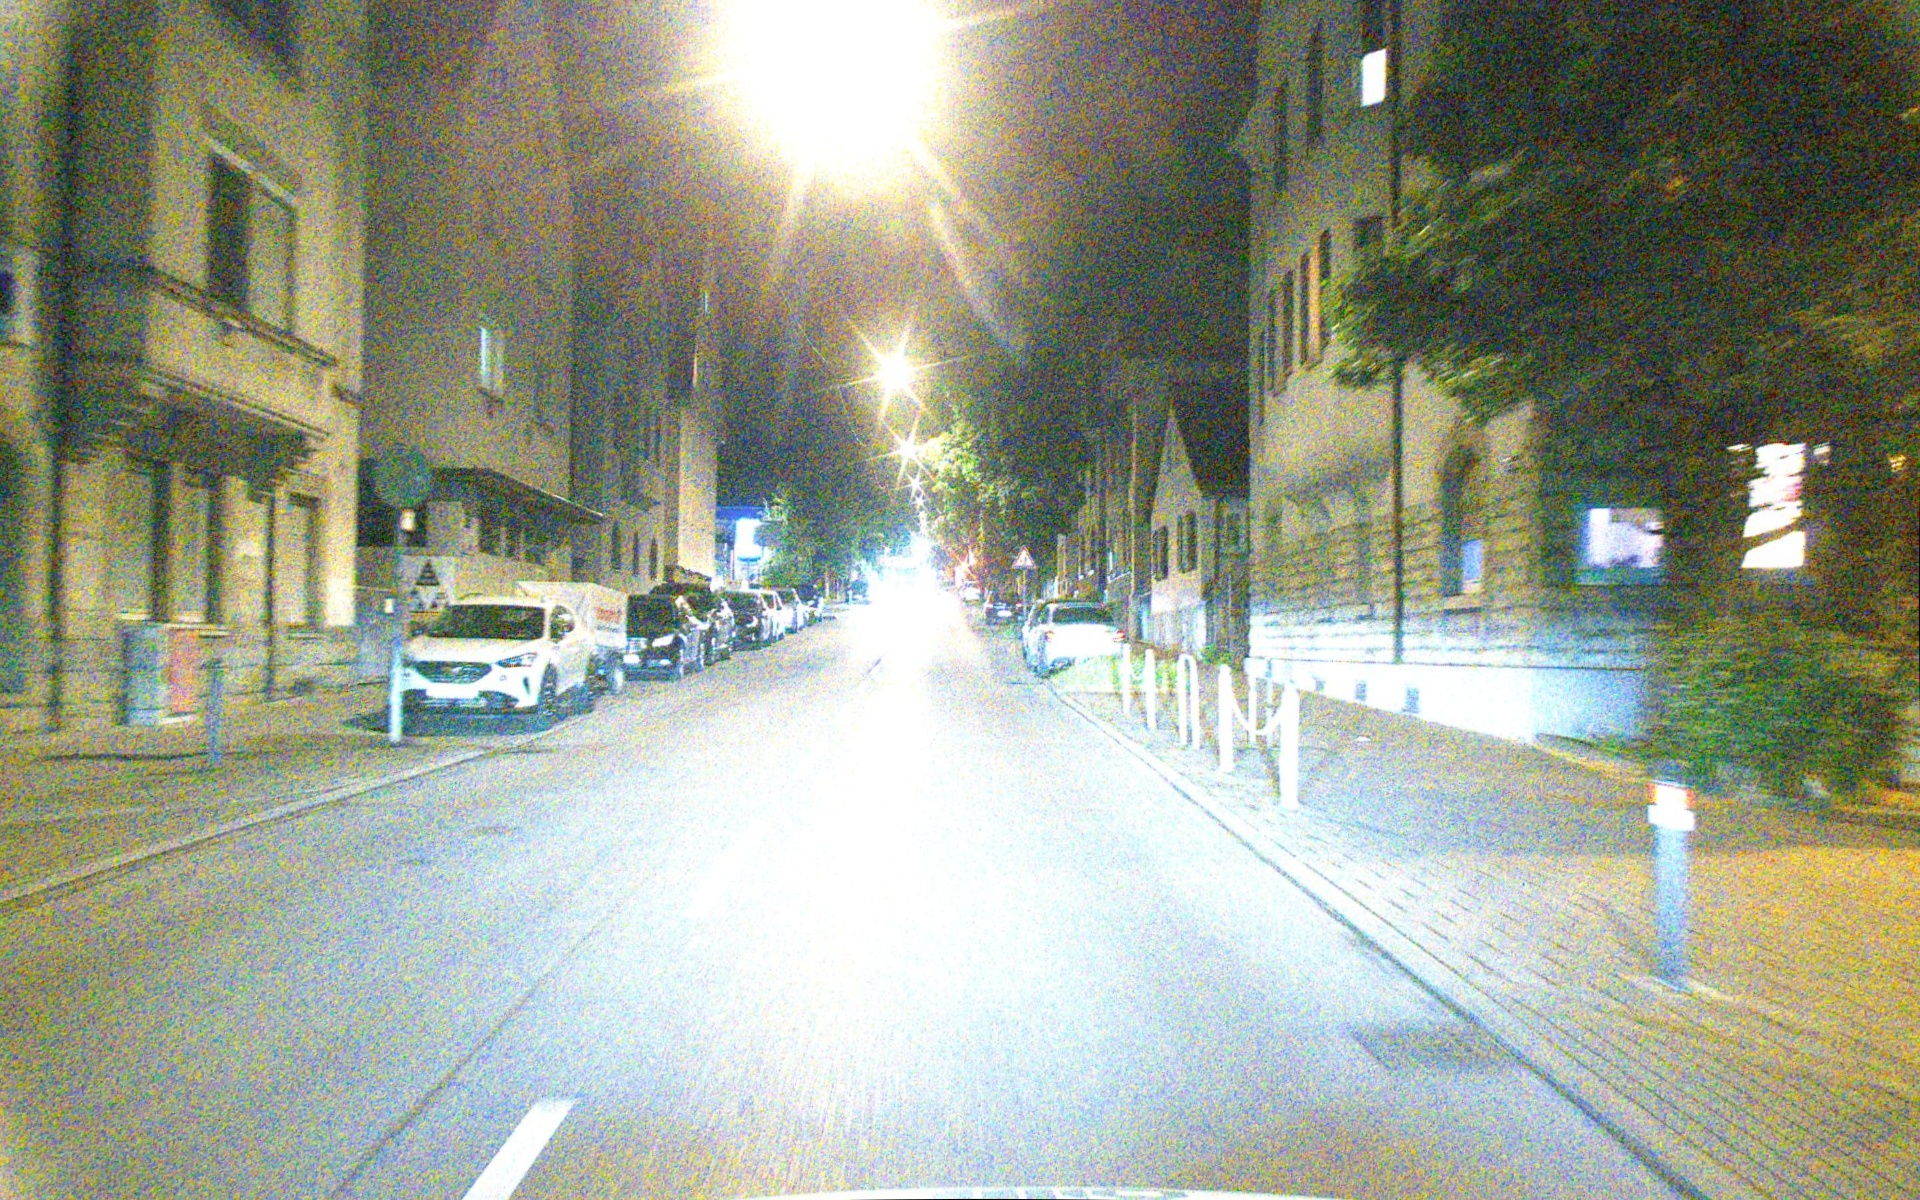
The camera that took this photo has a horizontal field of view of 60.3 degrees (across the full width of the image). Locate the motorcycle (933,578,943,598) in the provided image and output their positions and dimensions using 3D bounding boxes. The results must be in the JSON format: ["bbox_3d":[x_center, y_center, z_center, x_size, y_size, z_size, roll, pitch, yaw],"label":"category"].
[{"bbox_3d":[-2.053,-1.110,156.273,0.912,1.782,2.624,2,0,-1],"label":"motorcycle"}]

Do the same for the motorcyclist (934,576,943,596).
[{"bbox_3d":[-2.053,-1.316,156.536,0.831,1.782,0.805,2,0,-1],"label":"motorcyclist"}]

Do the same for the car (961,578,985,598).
[{"bbox_3d":[1.072,-0.958,134.618,1.830,1.553,4.149,-1,1,-1],"label":"car"}]

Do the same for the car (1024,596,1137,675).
[{"bbox_3d":[2.382,0.679,33.768,1.808,1.442,4.644,-2,0,-2],"label":"car"}]

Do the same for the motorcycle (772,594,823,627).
[{"bbox_3d":[-6.015,0.371,61.077,0.710,1.167,2.174,-1,1,-43],"label":"motorcycle"}]

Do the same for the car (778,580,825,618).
[{"bbox_3d":[-6.548,-0.021,68.494,1.605,1.524,2.765,1,0,1],"label":"car"}]

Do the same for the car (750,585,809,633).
[{"bbox_3d":[-6.174,0.284,56.829,1.670,1.517,4.227,-1,1,-2],"label":"car"}]

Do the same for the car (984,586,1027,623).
[{"bbox_3d":[1.968,0.168,72.235,1.727,1.501,4.080,-1,1,-1],"label":"car"}]

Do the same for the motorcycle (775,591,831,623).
[{"bbox_3d":[-5.993,0.258,63.095,2.162,1.150,0.714,1,1,32],"label":"motorcycle"}]

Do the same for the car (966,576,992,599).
[{"bbox_3d":[1.350,-0.909,121.064,1.775,1.621,4.273,-1,1,-1],"label":"car"}]

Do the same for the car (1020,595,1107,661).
[{"bbox_3d":[2.410,0.632,39.349,1.735,1.473,4.018,0,0,-2],"label":"car"}]

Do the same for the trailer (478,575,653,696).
[{"bbox_3d":[-5.904,0.507,25.104,1.603,1.668,3.440,2,0,4],"label":"trailer"}]

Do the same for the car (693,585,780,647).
[{"bbox_3d":[-5.932,0.407,44.273,1.826,1.517,4.279,2,0,-2],"label":"car"}]

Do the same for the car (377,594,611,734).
[{"bbox_3d":[-5.575,0.696,20.325,1.778,1.510,4.346,1,0,-2],"label":"car"}]

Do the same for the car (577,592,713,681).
[{"bbox_3d":[-5.767,0.614,30.789,1.798,1.472,4.543,1,1,-2],"label":"car"}]

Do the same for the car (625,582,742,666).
[{"bbox_3d":[-5.928,0.469,35.955,1.798,1.647,4.544,2,1,-1],"label":"car"}]

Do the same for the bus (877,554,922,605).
[{"bbox_3d":[-4.079,-1.416,113.252,2.780,3.232,10.497,2,1,-1],"label":"bus"}]

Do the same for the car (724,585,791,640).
[{"bbox_3d":[-5.960,0.351,49.095,1.589,1.517,3.779,2,0,-2],"label":"car"}]
